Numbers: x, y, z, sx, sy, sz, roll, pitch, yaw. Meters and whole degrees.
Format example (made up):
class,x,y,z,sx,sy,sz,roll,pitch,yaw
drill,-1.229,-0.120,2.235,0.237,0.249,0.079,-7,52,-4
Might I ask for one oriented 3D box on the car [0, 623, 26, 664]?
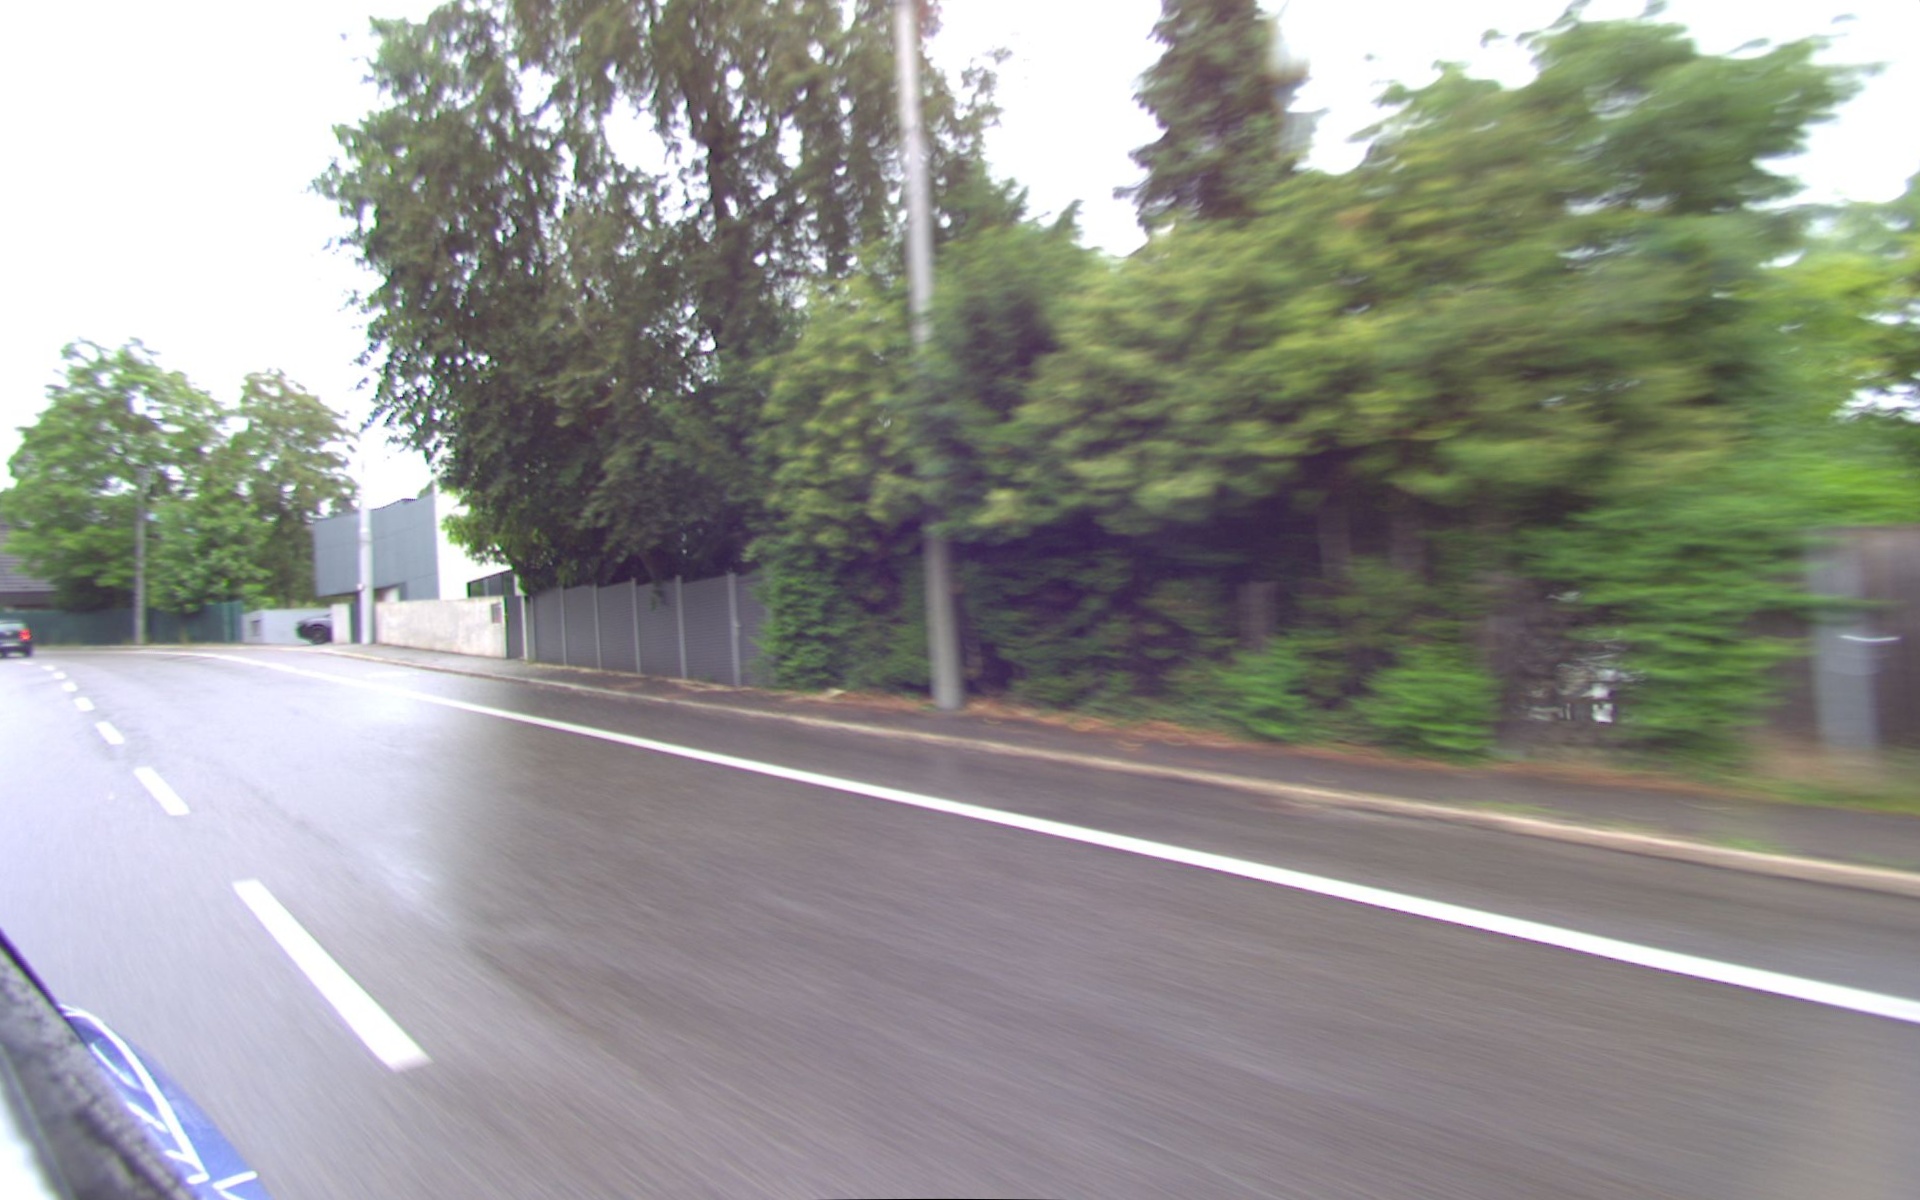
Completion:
class,x,y,z,sx,sy,sz,roll,pitch,yaw
car,-38.143,1.729,39.871,3.803,1.430,1.631,0,3,43

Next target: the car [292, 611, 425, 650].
class,x,y,z,sx,sy,sz,roll,pitch,yaw
car,-22.946,1.137,38.753,3.936,1.311,1.901,-2,-1,-9
